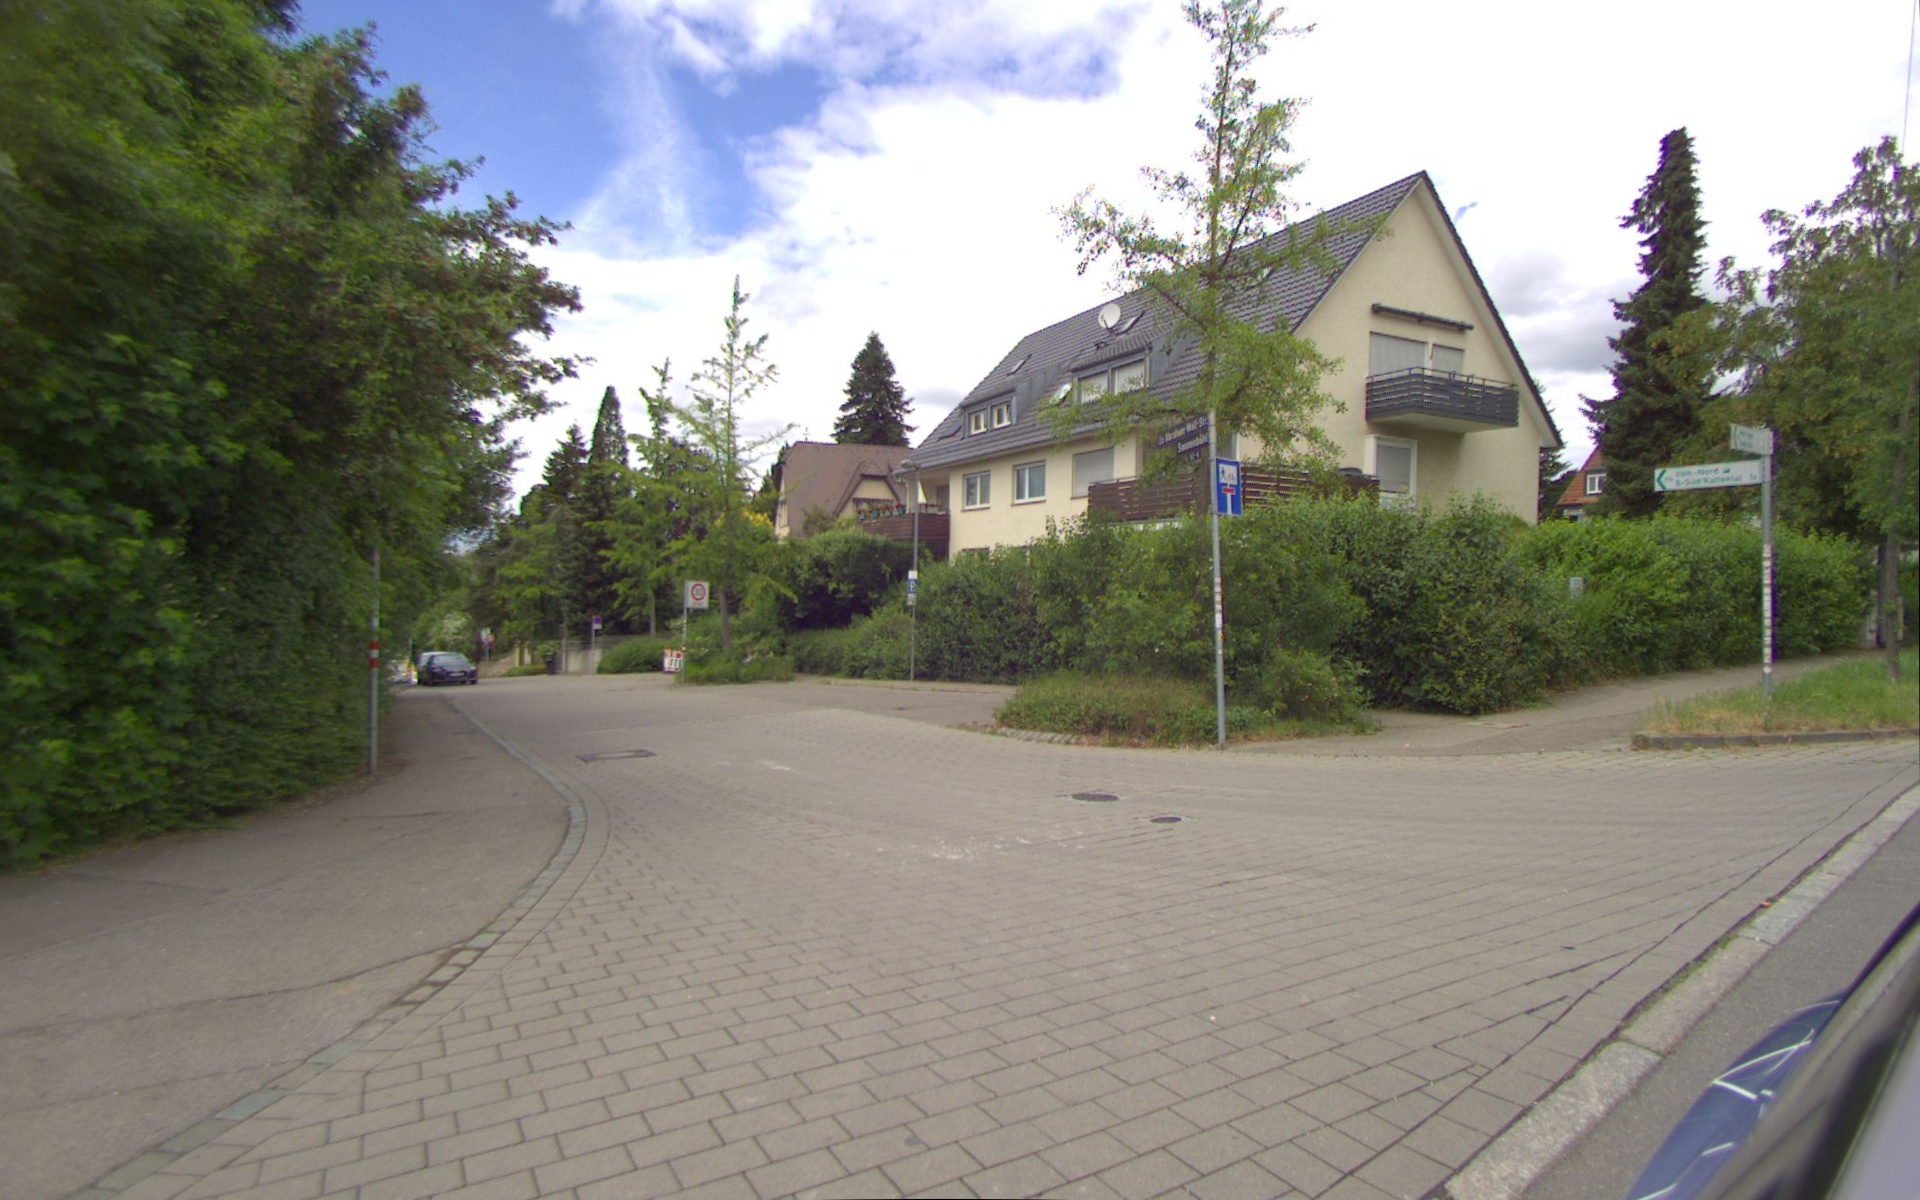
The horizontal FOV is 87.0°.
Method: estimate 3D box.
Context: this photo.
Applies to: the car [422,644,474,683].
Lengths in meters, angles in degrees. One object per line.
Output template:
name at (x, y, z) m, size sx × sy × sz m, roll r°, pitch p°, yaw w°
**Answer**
car at (-22.127, 2.734, 43.693) m, size 1.640 × 1.550 × 3.760 m, roll -1°, pitch -2°, yaw -33°
